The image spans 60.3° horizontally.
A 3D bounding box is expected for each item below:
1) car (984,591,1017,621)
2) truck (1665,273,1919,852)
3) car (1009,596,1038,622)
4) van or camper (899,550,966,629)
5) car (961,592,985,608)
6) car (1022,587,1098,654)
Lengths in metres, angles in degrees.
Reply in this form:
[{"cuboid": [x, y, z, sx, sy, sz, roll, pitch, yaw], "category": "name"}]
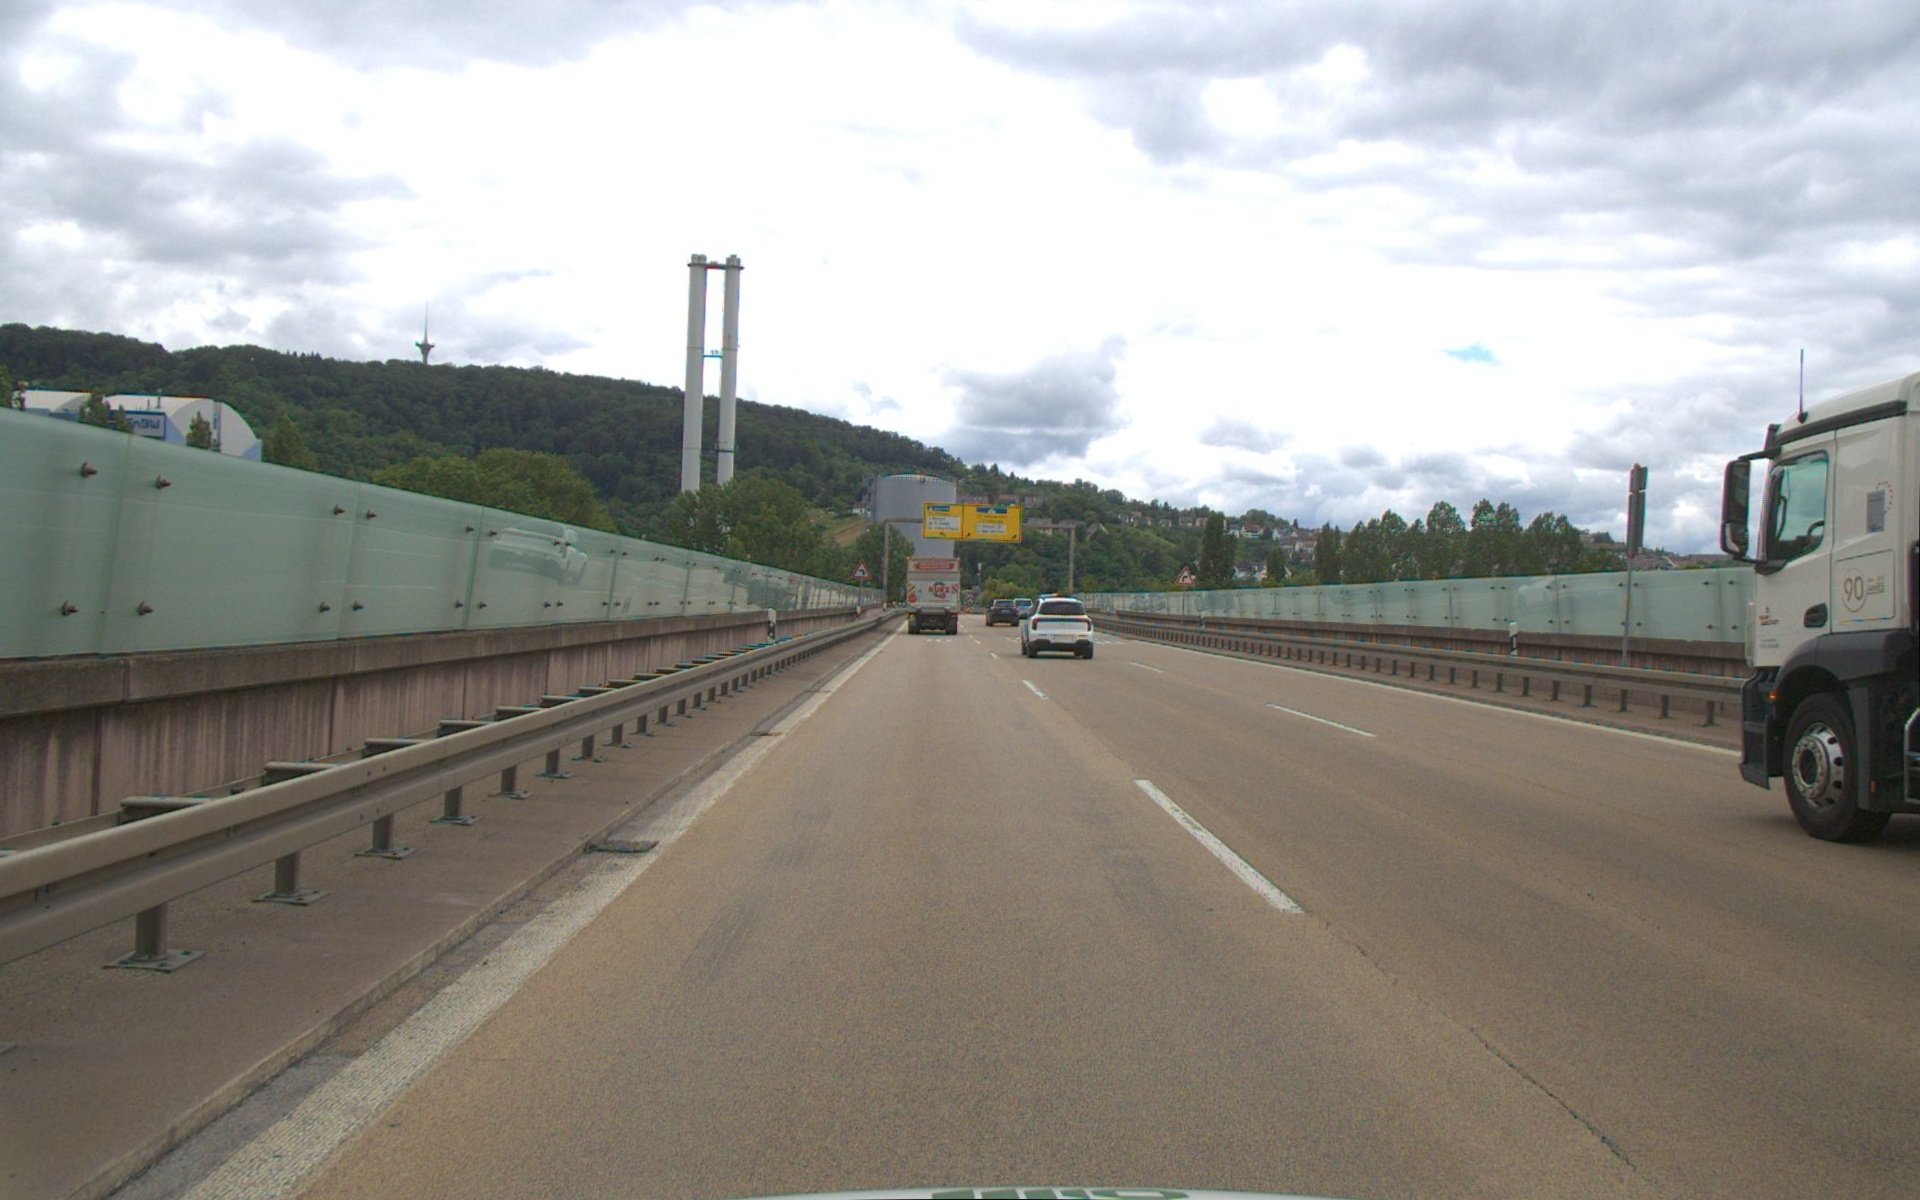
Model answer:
[{"cuboid": [2.487, 0.357, 102.551, 1.884, 1.816, 4.113, 1, 0, 0], "category": "car"}, {"cuboid": [7.206, -0.225, 11.349, 2.577, 3.575, 4.903, 1, 0, -1], "category": "truck"}, {"cuboid": [4.558, 0.619, 119.326, 1.884, 1.816, 4.113, 1, 0, 0], "category": "car"}, {"cuboid": [-1.240, -0.482, 81.015, 3.058, 3.642, 8.550, 1, 0, 0], "category": "van or camper"}, {"cuboid": [1.688, -0.014, 214.482, 2.420, 2.014, 5.164, 1, 0, 8], "category": "car"}, {"cuboid": [2.819, 0.554, 47.484, 1.884, 1.816, 4.113, 1, 0, 0], "category": "car"}]
